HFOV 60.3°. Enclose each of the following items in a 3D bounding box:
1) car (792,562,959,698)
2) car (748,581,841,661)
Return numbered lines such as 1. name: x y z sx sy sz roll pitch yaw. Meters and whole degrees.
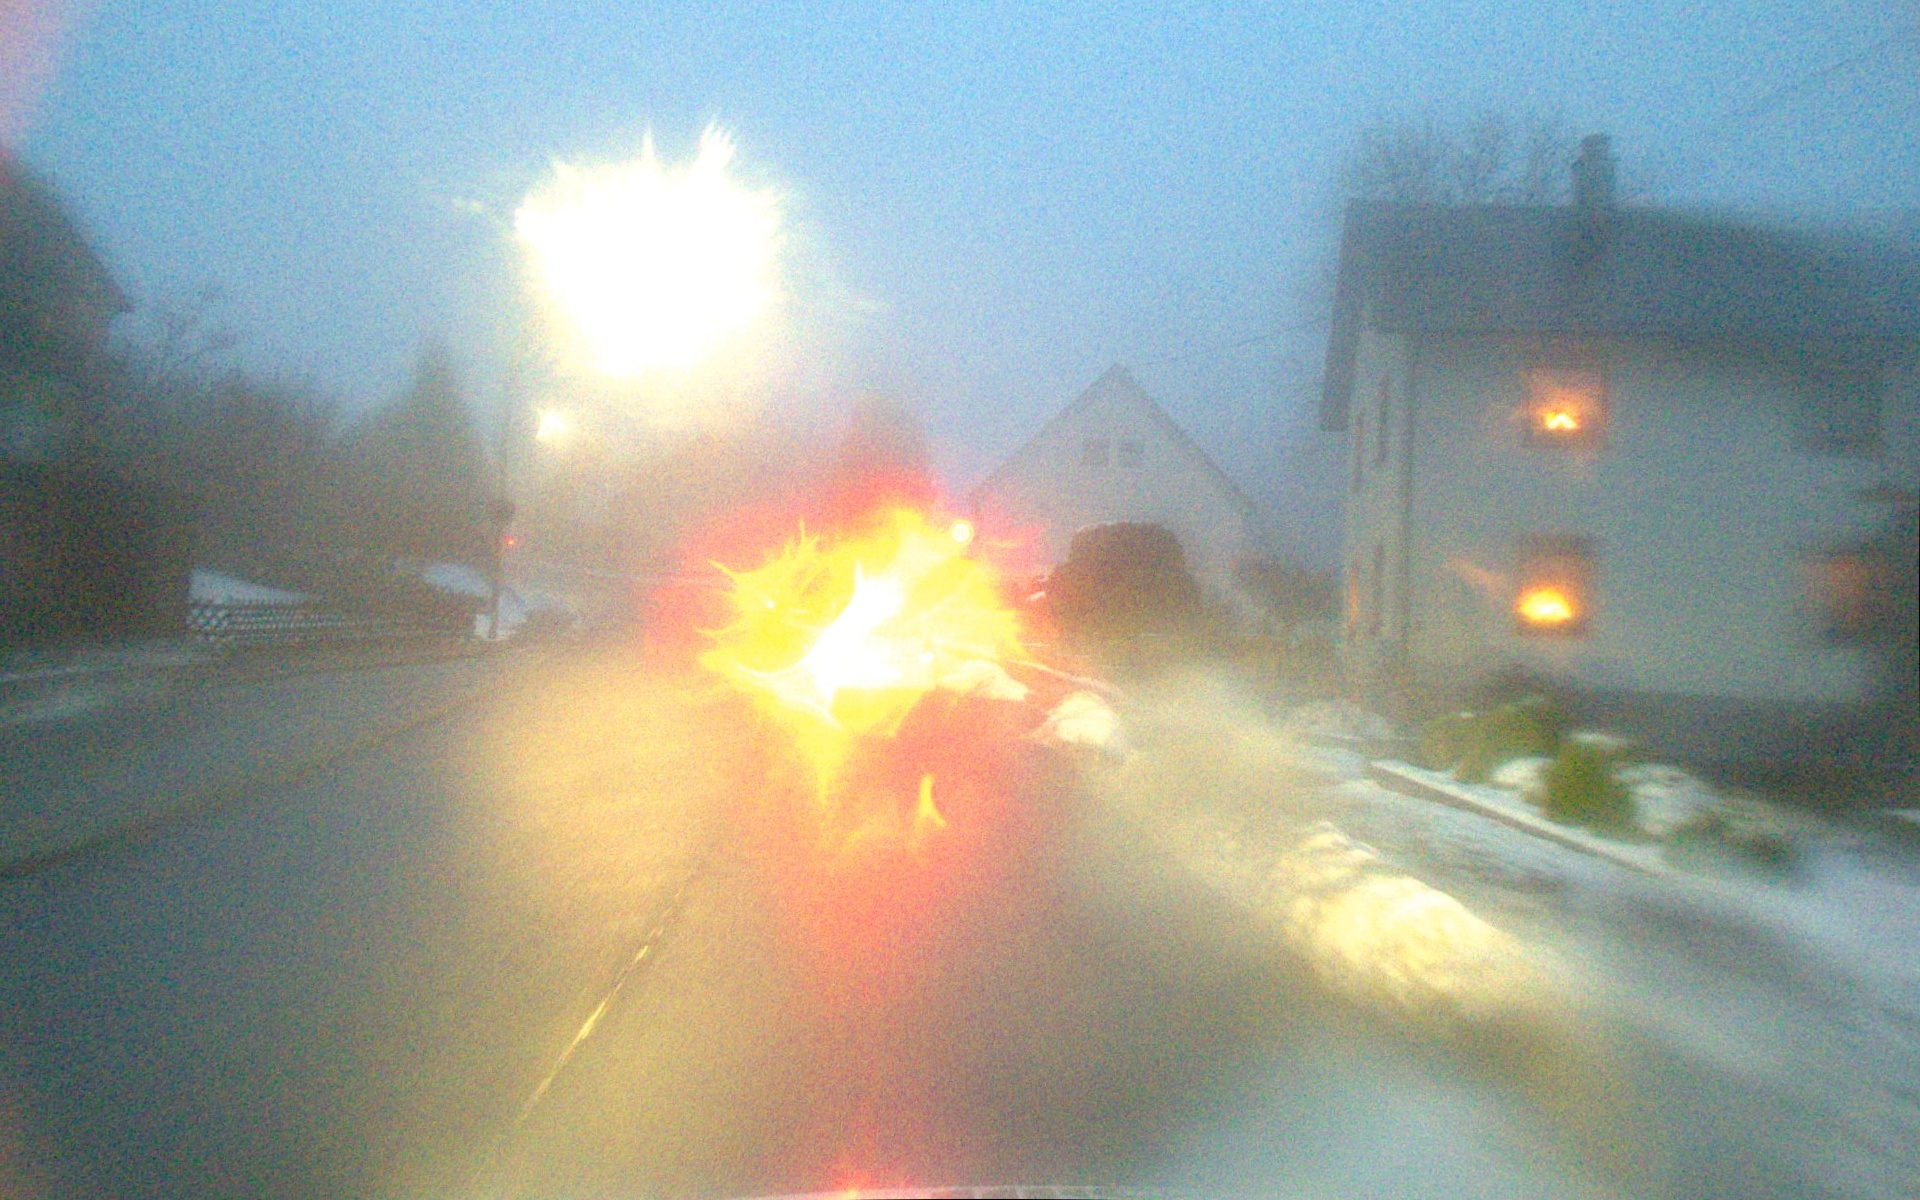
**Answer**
1. car: -1.232 0.401 22.225 1.862 1.637 3.992 1 -1 -8
2. car: -3.946 0.498 39.028 1.956 1.767 3.870 1 -1 -9
